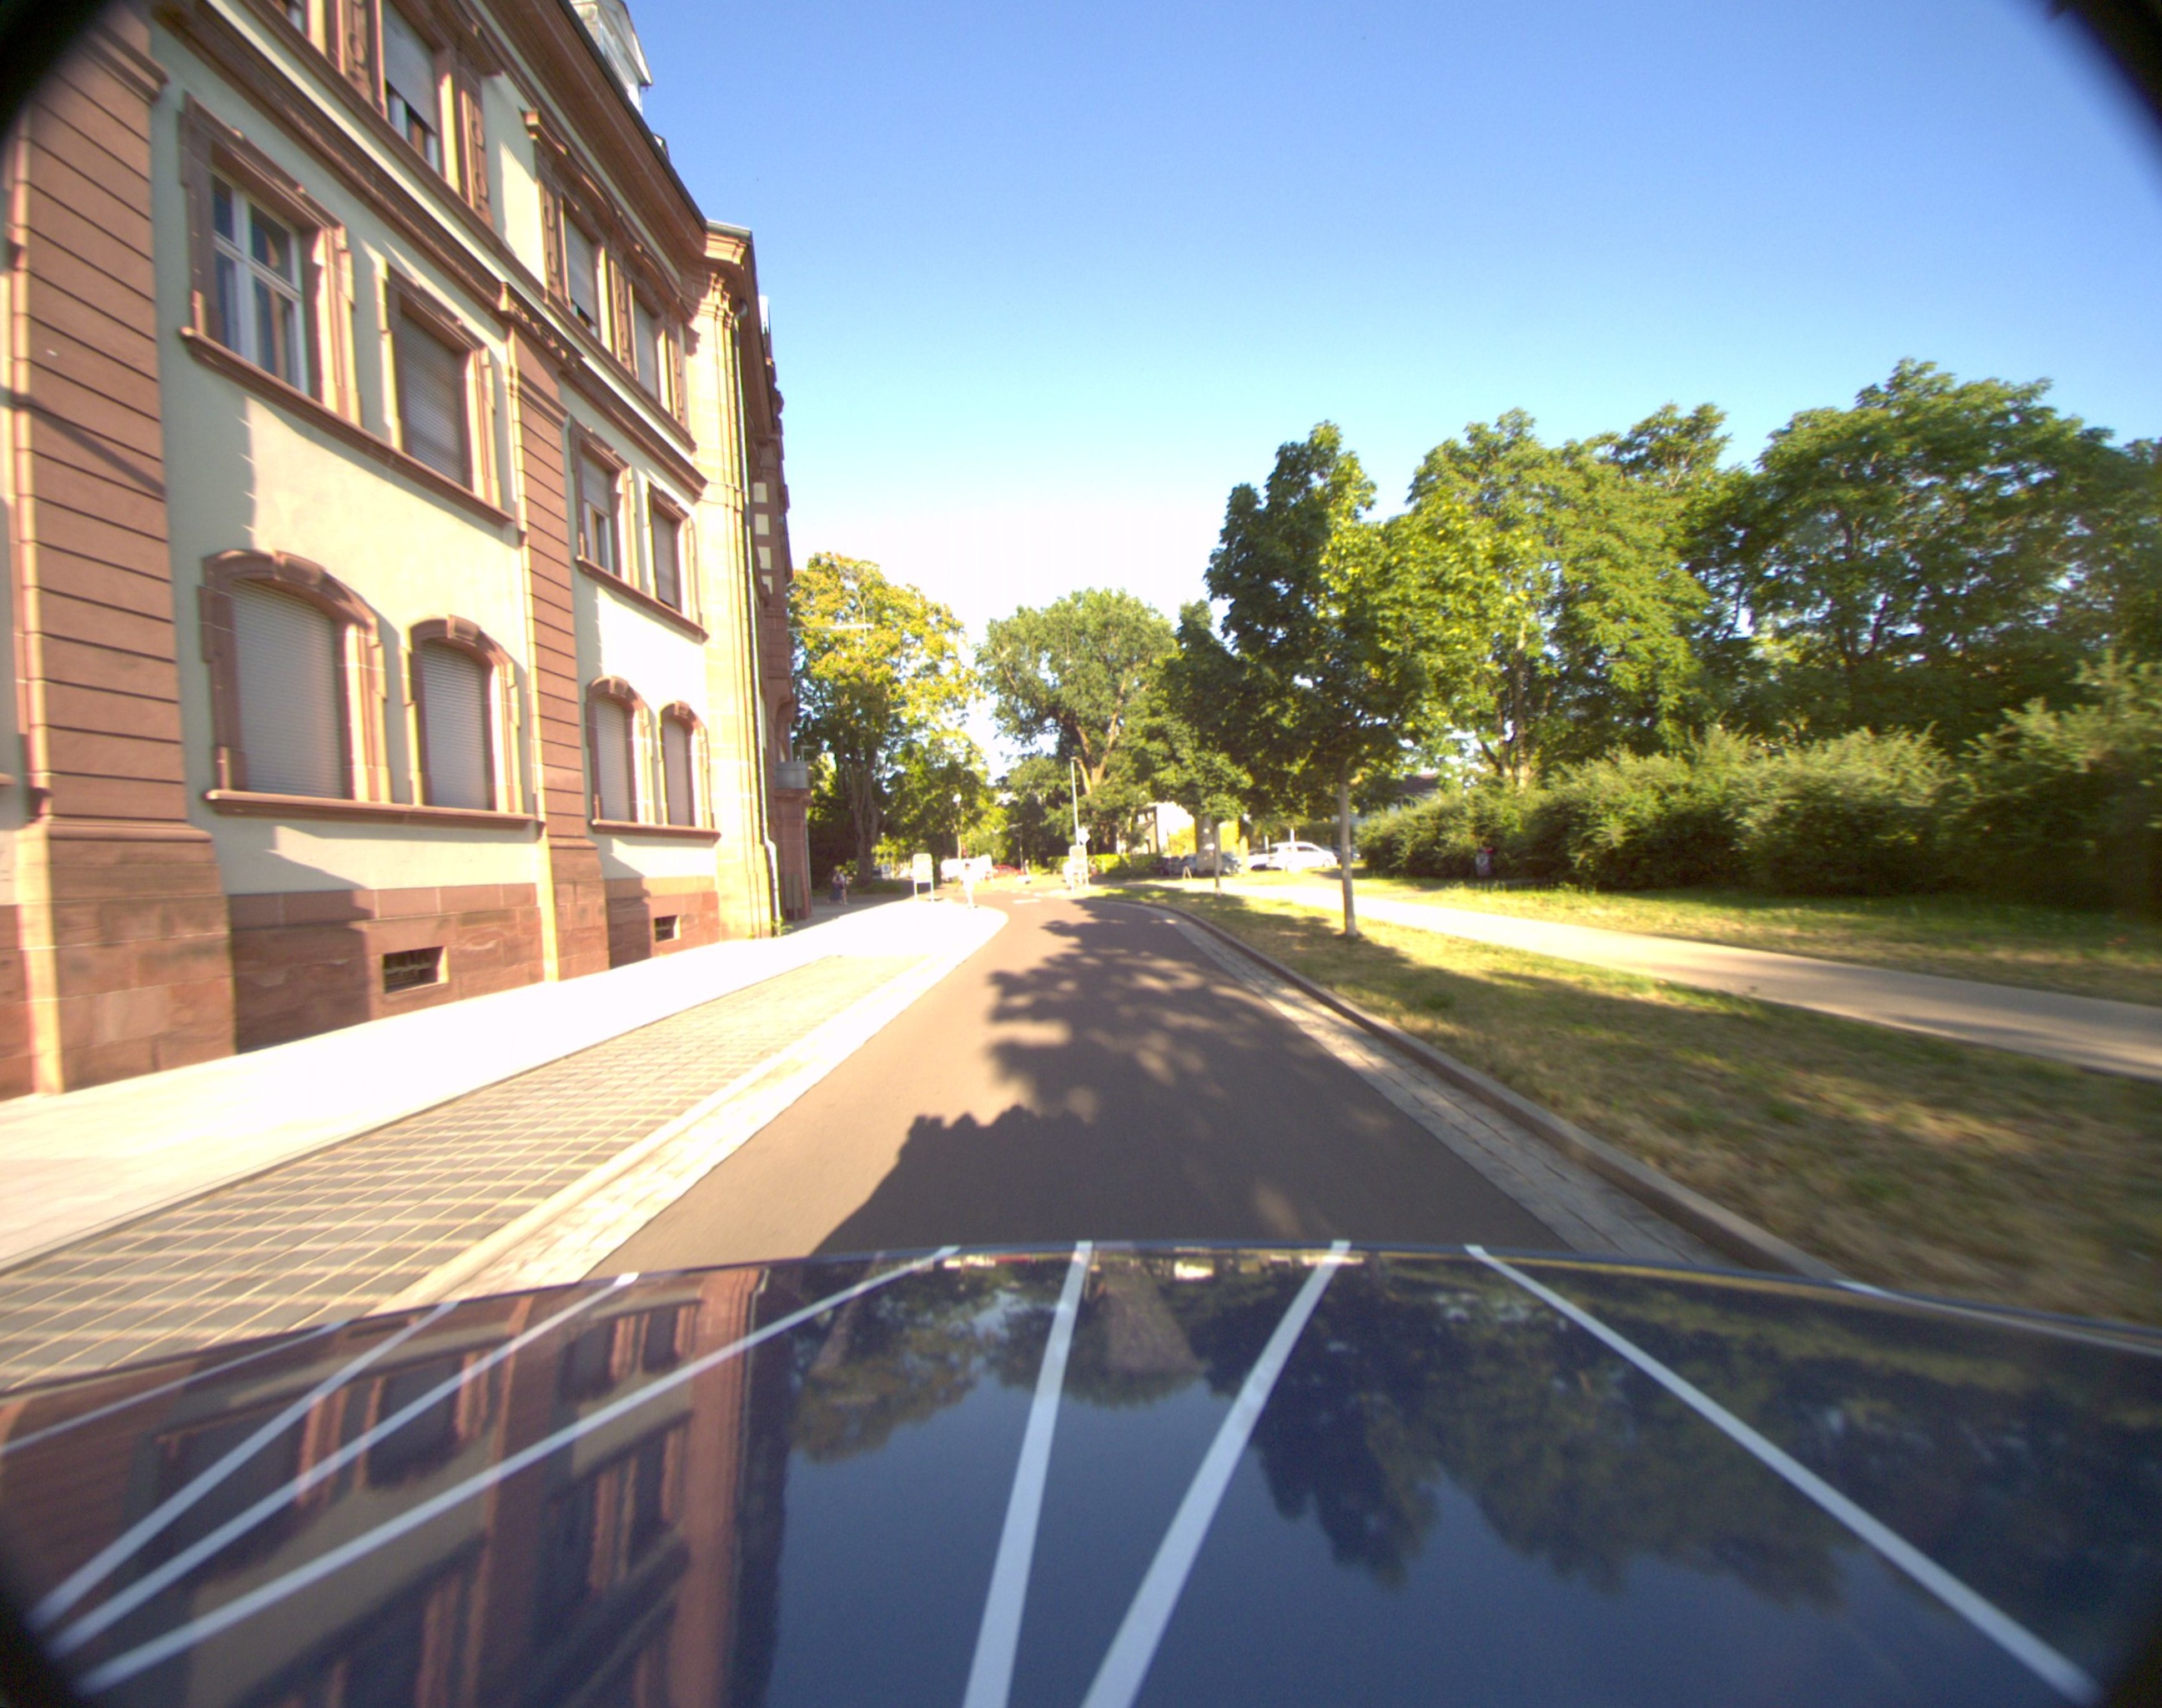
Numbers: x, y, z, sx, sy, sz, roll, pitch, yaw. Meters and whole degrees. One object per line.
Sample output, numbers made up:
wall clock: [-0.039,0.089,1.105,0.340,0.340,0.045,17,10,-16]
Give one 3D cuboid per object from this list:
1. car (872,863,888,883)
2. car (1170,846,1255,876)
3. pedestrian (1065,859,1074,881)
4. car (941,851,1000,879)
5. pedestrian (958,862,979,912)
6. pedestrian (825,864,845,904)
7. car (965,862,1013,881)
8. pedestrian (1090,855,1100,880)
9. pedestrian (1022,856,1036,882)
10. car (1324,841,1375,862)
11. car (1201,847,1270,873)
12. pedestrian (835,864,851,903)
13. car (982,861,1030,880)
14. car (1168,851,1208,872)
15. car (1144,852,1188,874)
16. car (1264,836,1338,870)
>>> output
car: [-27.945,2.576,105.577,1.953,2.584,4.161,-4,0,-14]
car: [8.155,0.442,47.213,4.841,1.549,1.865,-4,0,-17]
pedestrian: [-0.828,1.133,53.913,0.436,1.571,0.665,-4,0,-13]
car: [-12.011,1.183,82.553,5.914,2.684,2.217,-4,0,-19]
pedestrian: [-3.909,1.128,26.309,0.534,1.709,1.001,-1,0,-17]
pedestrian: [-11.508,1.402,35.548,0.717,1.829,0.789,-4,-1,-15]
car: [-8.587,1.646,71.046,4.062,1.412,1.716,-4,0,-19]
pedestrian: [1.009,0.956,53.895,0.436,1.764,0.665,-4,0,-13]
pedestrian: [-3.879,1.100,56.721,0.615,1.908,0.720,-6,3,-41]
car: [21.553,-0.193,61.146,1.746,1.529,3.917,-4,1,-20]
car: [10.909,0.414,53.636,4.348,1.525,1.781,-4,-1,-15]
pedestrian: [-11.384,1.417,36.379,0.613,1.828,0.726,-4,-2,-15]
car: [-6.499,1.435,65.715,3.682,1.412,1.716,-4,0,-19]
car: [8.223,0.577,58.734,1.639,1.483,3.350,-4,1,-19]
car: [6.275,0.639,56.701,1.646,1.507,3.993,-4,1,-19]
car: [14.280,-0.062,49.397,4.241,1.905,1.760,-4,0,-17]
